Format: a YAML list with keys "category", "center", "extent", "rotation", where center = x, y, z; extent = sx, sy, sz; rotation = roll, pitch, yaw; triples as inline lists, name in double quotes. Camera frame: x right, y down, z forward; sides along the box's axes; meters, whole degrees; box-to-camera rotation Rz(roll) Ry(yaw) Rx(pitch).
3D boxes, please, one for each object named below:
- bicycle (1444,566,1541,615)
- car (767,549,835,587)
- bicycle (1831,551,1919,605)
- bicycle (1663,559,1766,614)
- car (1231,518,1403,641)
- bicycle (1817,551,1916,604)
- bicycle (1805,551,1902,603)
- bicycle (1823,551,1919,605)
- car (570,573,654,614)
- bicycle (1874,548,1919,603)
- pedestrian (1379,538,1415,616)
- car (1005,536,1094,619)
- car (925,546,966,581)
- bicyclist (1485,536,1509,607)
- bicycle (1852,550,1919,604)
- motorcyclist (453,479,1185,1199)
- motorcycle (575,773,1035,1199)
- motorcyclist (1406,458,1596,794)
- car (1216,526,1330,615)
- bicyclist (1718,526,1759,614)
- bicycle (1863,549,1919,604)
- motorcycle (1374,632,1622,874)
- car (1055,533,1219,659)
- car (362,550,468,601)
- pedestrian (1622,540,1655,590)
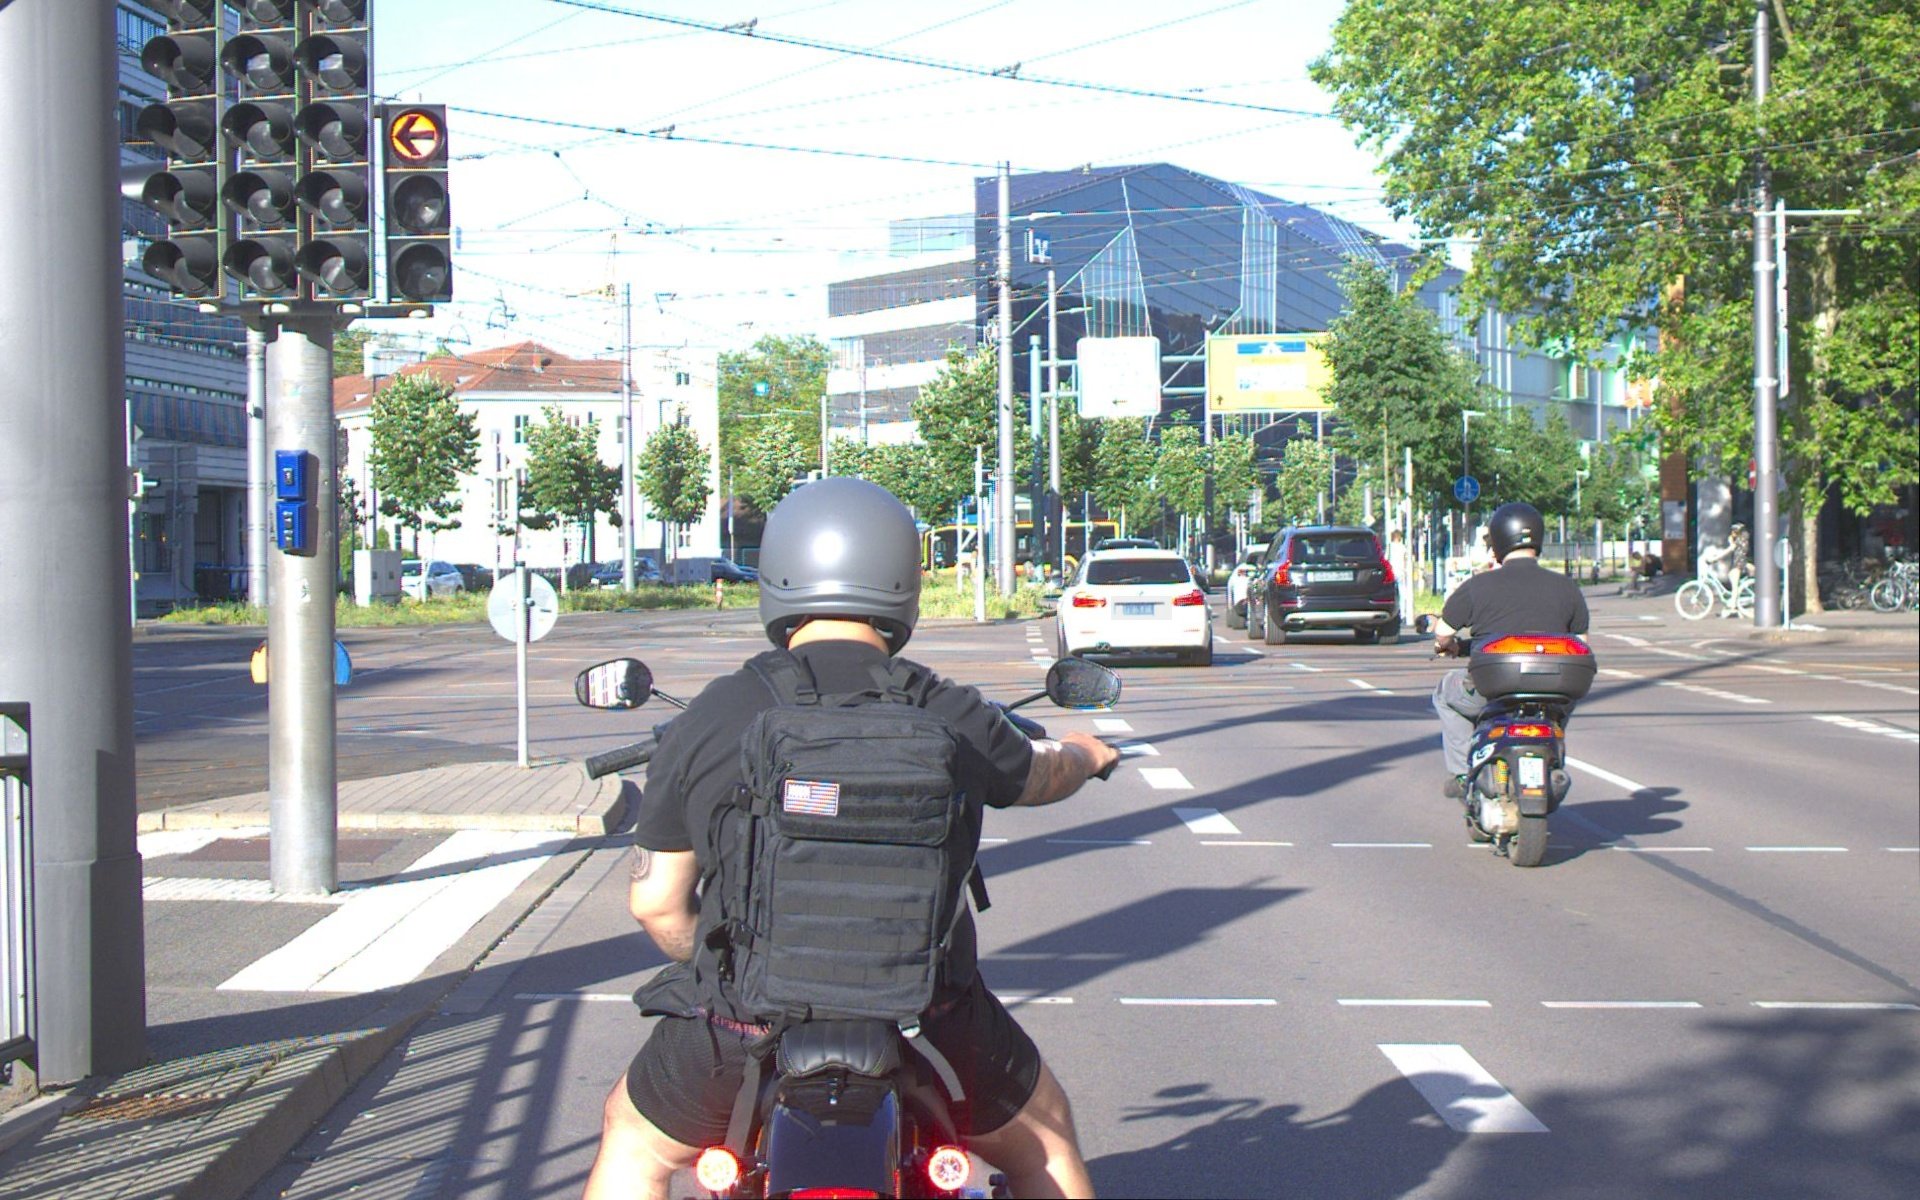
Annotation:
- category: "bicycle"
  center: [10.354, -0.193, 66.896]
  extent: [1.828, 0.922, 0.357]
  rotation: [1, 0, 25]
- category: "car"
  center: [-6.573, -1.335, 142.668]
  extent: [1.750, 1.519, 3.997]
  rotation: [1, 0, 13]
- category: "bicycle"
  center: [18.354, -0.436, 68.515]
  extent: [1.880, 1.043, 0.360]
  rotation: [1, 0, -1]
- category: "bicycle"
  center: [14.334, -0.252, 65.323]
  extent: [1.872, 1.040, 0.536]
  rotation: [0, 0, 19]
- category: "car"
  center: [5.306, -0.347, 51.627]
  extent: [1.731, 1.726, 4.613]
  rotation: [1, 2, -5]
- category: "bicycle"
  center: [18.326, -0.460, 69.500]
  extent: [1.880, 1.043, 0.360]
  rotation: [1, 1, -1]
- category: "bicycle"
  center: [18.359, -0.475, 70.652]
  extent: [1.880, 1.043, 0.360]
  rotation: [1, 1, -1]
- category: "bicycle"
  center: [18.322, -0.452, 69.000]
  extent: [1.880, 1.043, 0.360]
  rotation: [1, 1, -1]
- category: "car"
  center: [-12.423, -0.240, 122.826]
  extent: [1.826, 1.426, 4.239]
  rotation: [1, 0, 11]
- category: "bicycle"
  center: [18.474, -0.456, 65.730]
  extent: [1.880, 1.043, 0.360]
  rotation: [1, 0, -1]
- category: "pedestrian"
  center: [8.720, -0.463, 68.609]
  extent: [0.587, 1.551, 0.489]
  rotation: [1, 0, -8]
- category: "car"
  center: [1.918, -0.460, 72.651]
  extent: [1.803, 1.672, 4.040]
  rotation: [1, 0, 2]
- category: "car"
  center: [-0.824, -2.143, 204.047]
  extent: [1.994, 2.007, 4.299]
  rotation: [1, 0, 5]
- category: "bicyclist"
  center: [10.443, -0.550, 66.846]
  extent: [0.381, 1.368, 0.345]
  rotation: [1, 0, 23]
- category: "bicycle"
  center: [18.459, -0.440, 67.327]
  extent: [1.880, 1.043, 0.360]
  rotation: [1, 0, -1]
- category: "motorcyclist"
  center: [-0.202, 0.618, 5.310]
  extent: [1.030, 1.588, 0.873]
  rotation: [0, 1, -1]
- category: "motorcycle"
  center: [-0.222, 0.884, 5.646]
  extent: [0.600, 1.032, 2.234]
  rotation: [1, 1, -1]
- category: "motorcyclist"
  center: [2.586, 0.121, 16.471]
  extent: [0.796, 1.574, 0.529]
  rotation: [1, 0, -1]
- category: "car"
  center: [5.874, -0.576, 64.958]
  extent: [1.731, 1.593, 4.041]
  rotation: [1, 1, 0]
- category: "bicyclist"
  center: [14.761, -0.566, 65.192]
  extent: [0.688, 1.667, 0.540]
  rotation: [0, 0, 19]
- category: "bicycle"
  center: [18.473, -0.448, 66.513]
  extent: [1.880, 1.043, 0.360]
  rotation: [1, 0, -1]
- category: "motorcycle"
  center: [2.570, 0.702, 16.691]
  extent: [0.804, 1.047, 2.376]
  rotation: [1, 0, 0]
- category: "car"
  center: [2.142, -0.059, 42.660]
  extent: [1.731, 1.452, 4.418]
  rotation: [1, 0, -1]
- category: "car"
  center: [-16.148, -0.743, 102.058]
  extent: [1.826, 1.425, 4.528]
  rotation: [0, 1, 9]
- category: "pedestrian"
  center: [17.912, -0.916, 90.794]
  extent: [0.819, 1.309, 0.637]
  rotation: [1, 0, 9]
